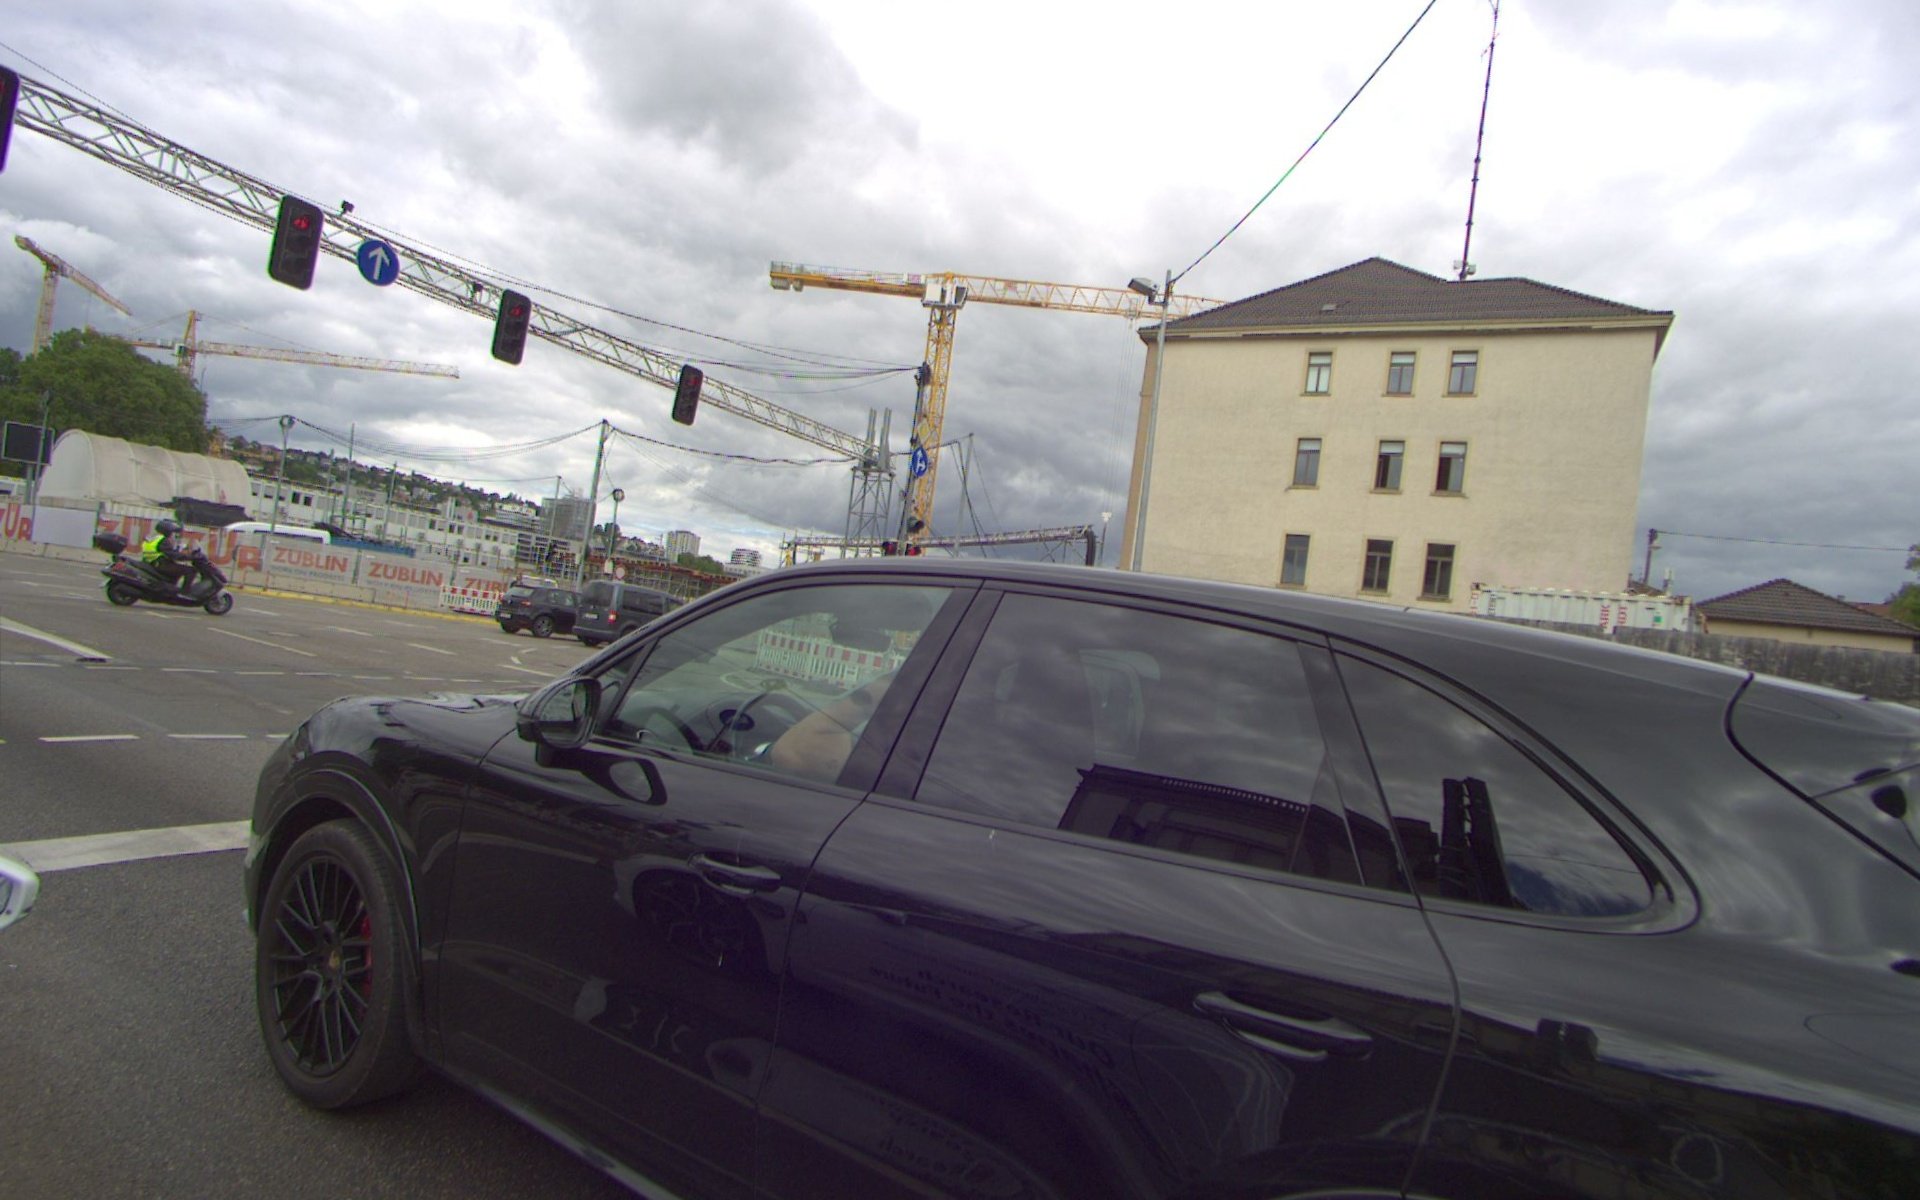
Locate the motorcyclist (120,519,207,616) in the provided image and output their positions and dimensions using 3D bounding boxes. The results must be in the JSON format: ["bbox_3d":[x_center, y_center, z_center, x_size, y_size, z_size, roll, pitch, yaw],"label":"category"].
[{"bbox_3d":[-14.441,-0.584,18.249,0.804,1.589,0.880,6,-1,32],"label":"motorcyclist"}]

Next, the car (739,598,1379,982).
[{"bbox_3d":[0.575,0.998,6.561,3.587,1.527,1.825,6,-2,33],"label":"car"}]

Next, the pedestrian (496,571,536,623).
[{"bbox_3d":[-17.277,-0.106,39.124,1.040,1.869,0.781,8,-1,-42],"label":"pedestrian"}]

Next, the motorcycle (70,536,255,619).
[{"bbox_3d":[-14.433,-0.370,18.298,0.804,1.168,2.427,6,-2,32],"label":"motorcycle"}]

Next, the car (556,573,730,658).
[{"bbox_3d":[-8.811,0.494,28.331,1.967,1.826,4.279,6,-2,31],"label":"car"}]

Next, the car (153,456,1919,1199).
[{"bbox_3d":[-0.007,0.689,2.724,4.505,1.687,1.997,6,-2,34],"label":"car"}]

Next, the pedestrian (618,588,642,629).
[{"bbox_3d":[-17.646,0.447,53.834,0.855,2.037,0.677,6,-1,44],"label":"pedestrian"}]

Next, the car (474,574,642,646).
[{"bbox_3d":[-11.825,0.337,29.809,1.969,1.565,4.110,6,-2,36],"label":"car"}]

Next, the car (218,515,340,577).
[{"bbox_3d":[-29.530,-2.326,43.651,3.976,2.037,1.976,9,-2,-43],"label":"car"}]
